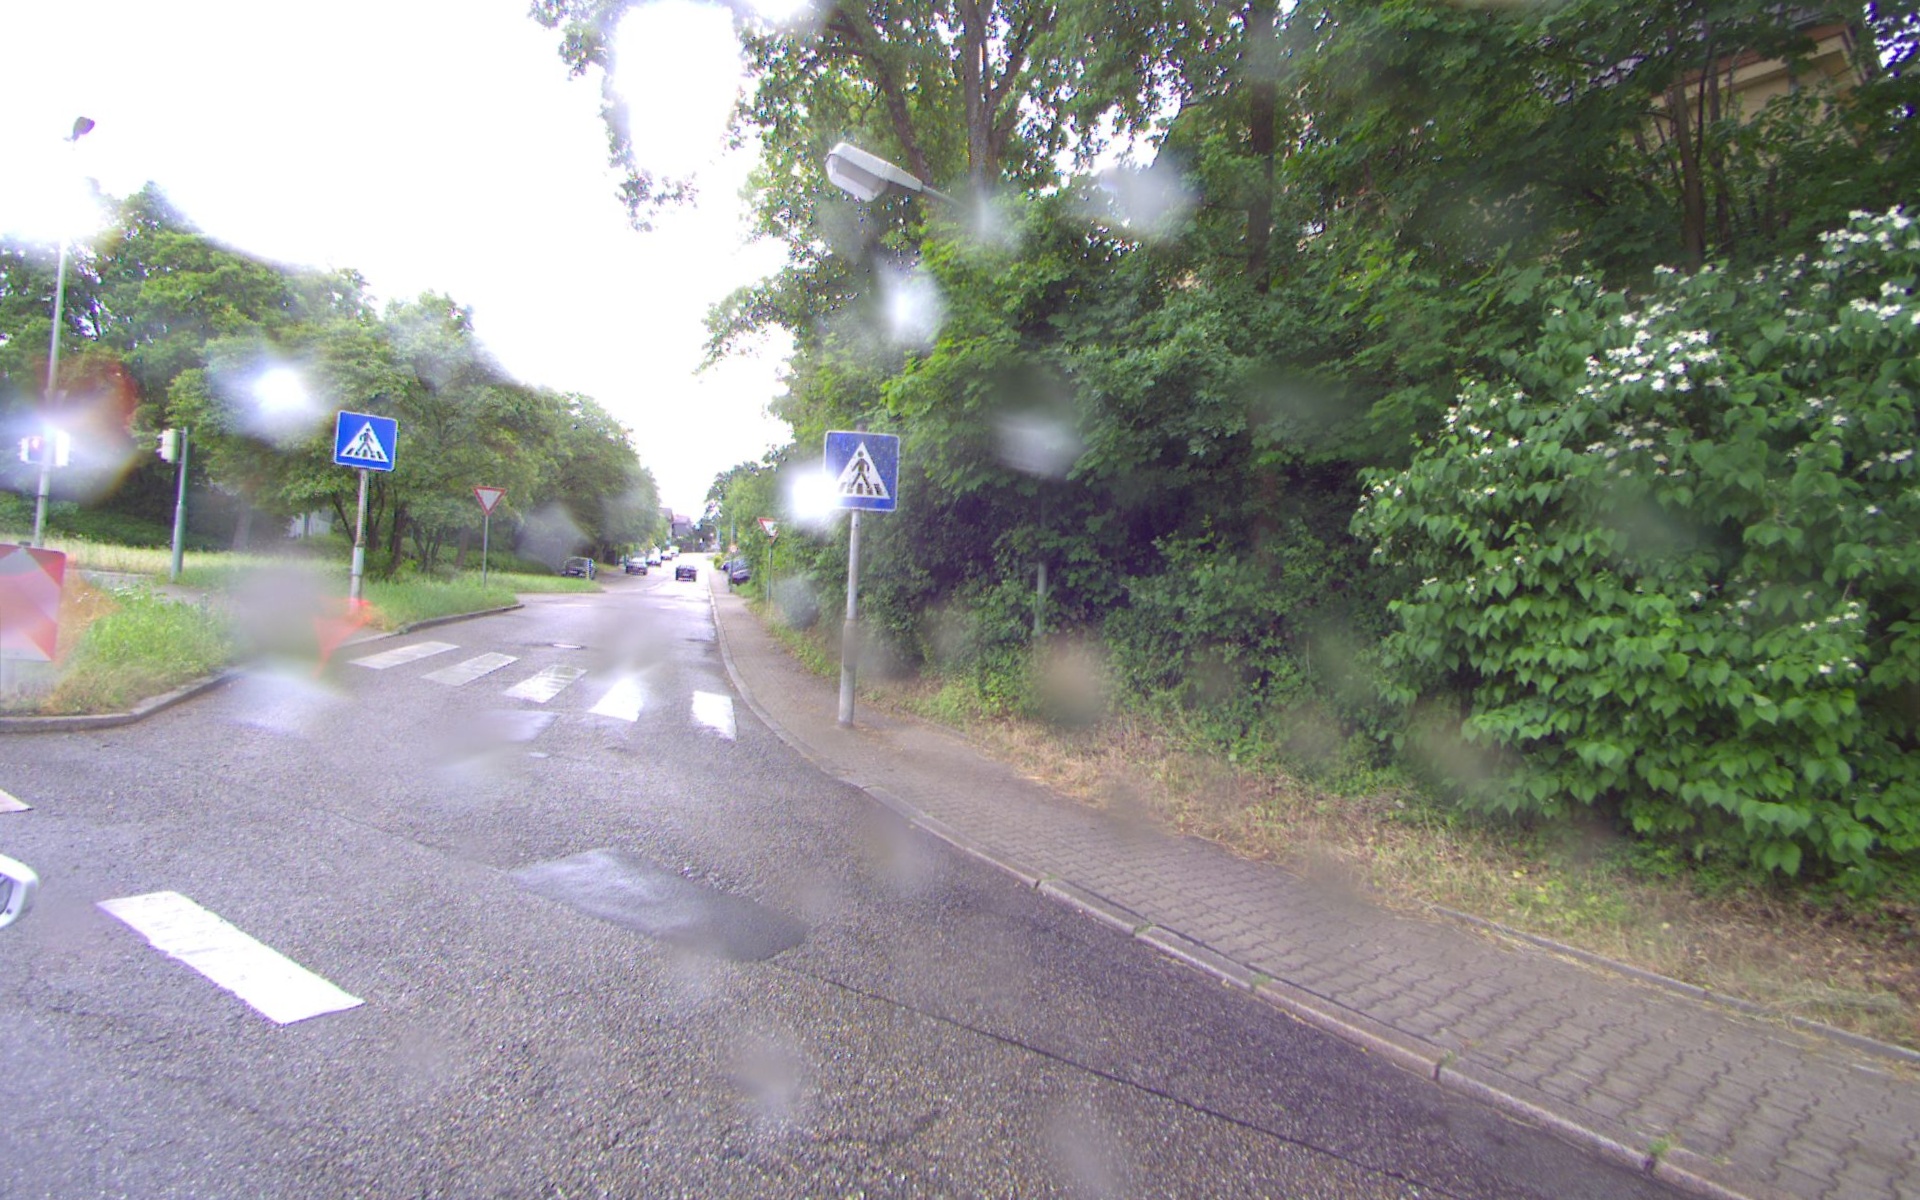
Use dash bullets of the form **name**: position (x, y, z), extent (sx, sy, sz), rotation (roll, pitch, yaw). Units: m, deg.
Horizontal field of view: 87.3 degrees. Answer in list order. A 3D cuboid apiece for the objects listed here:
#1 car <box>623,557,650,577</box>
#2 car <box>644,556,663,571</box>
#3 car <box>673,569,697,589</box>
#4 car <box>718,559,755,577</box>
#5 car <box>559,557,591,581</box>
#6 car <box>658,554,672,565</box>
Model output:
- **car**: position (-30.114, -3.027, 93.735), extent (1.874, 1.467, 4.285), rotation (7, -2, -13)
- **car**: position (-37.720, -4.433, 123.649), extent (1.968, 1.463, 4.278), rotation (7, -2, -19)
- **car**: position (-24.305, -1.869, 88.919), extent (1.789, 1.461, 4.148), rotation (6, 1, -14)
- **car**: position (-25.781, -3.695, 116.097), extent (3.939, 1.594, 1.766), rotation (5, 1, -18)
- **car**: position (-25.895, -2.086, 67.740), extent (1.651, 1.387, 3.477), rotation (6, 0, -16)
- **car**: position (-46.787, -6.453, 159.513), extent (1.877, 1.413, 4.151), rotation (7, -2, -20)
